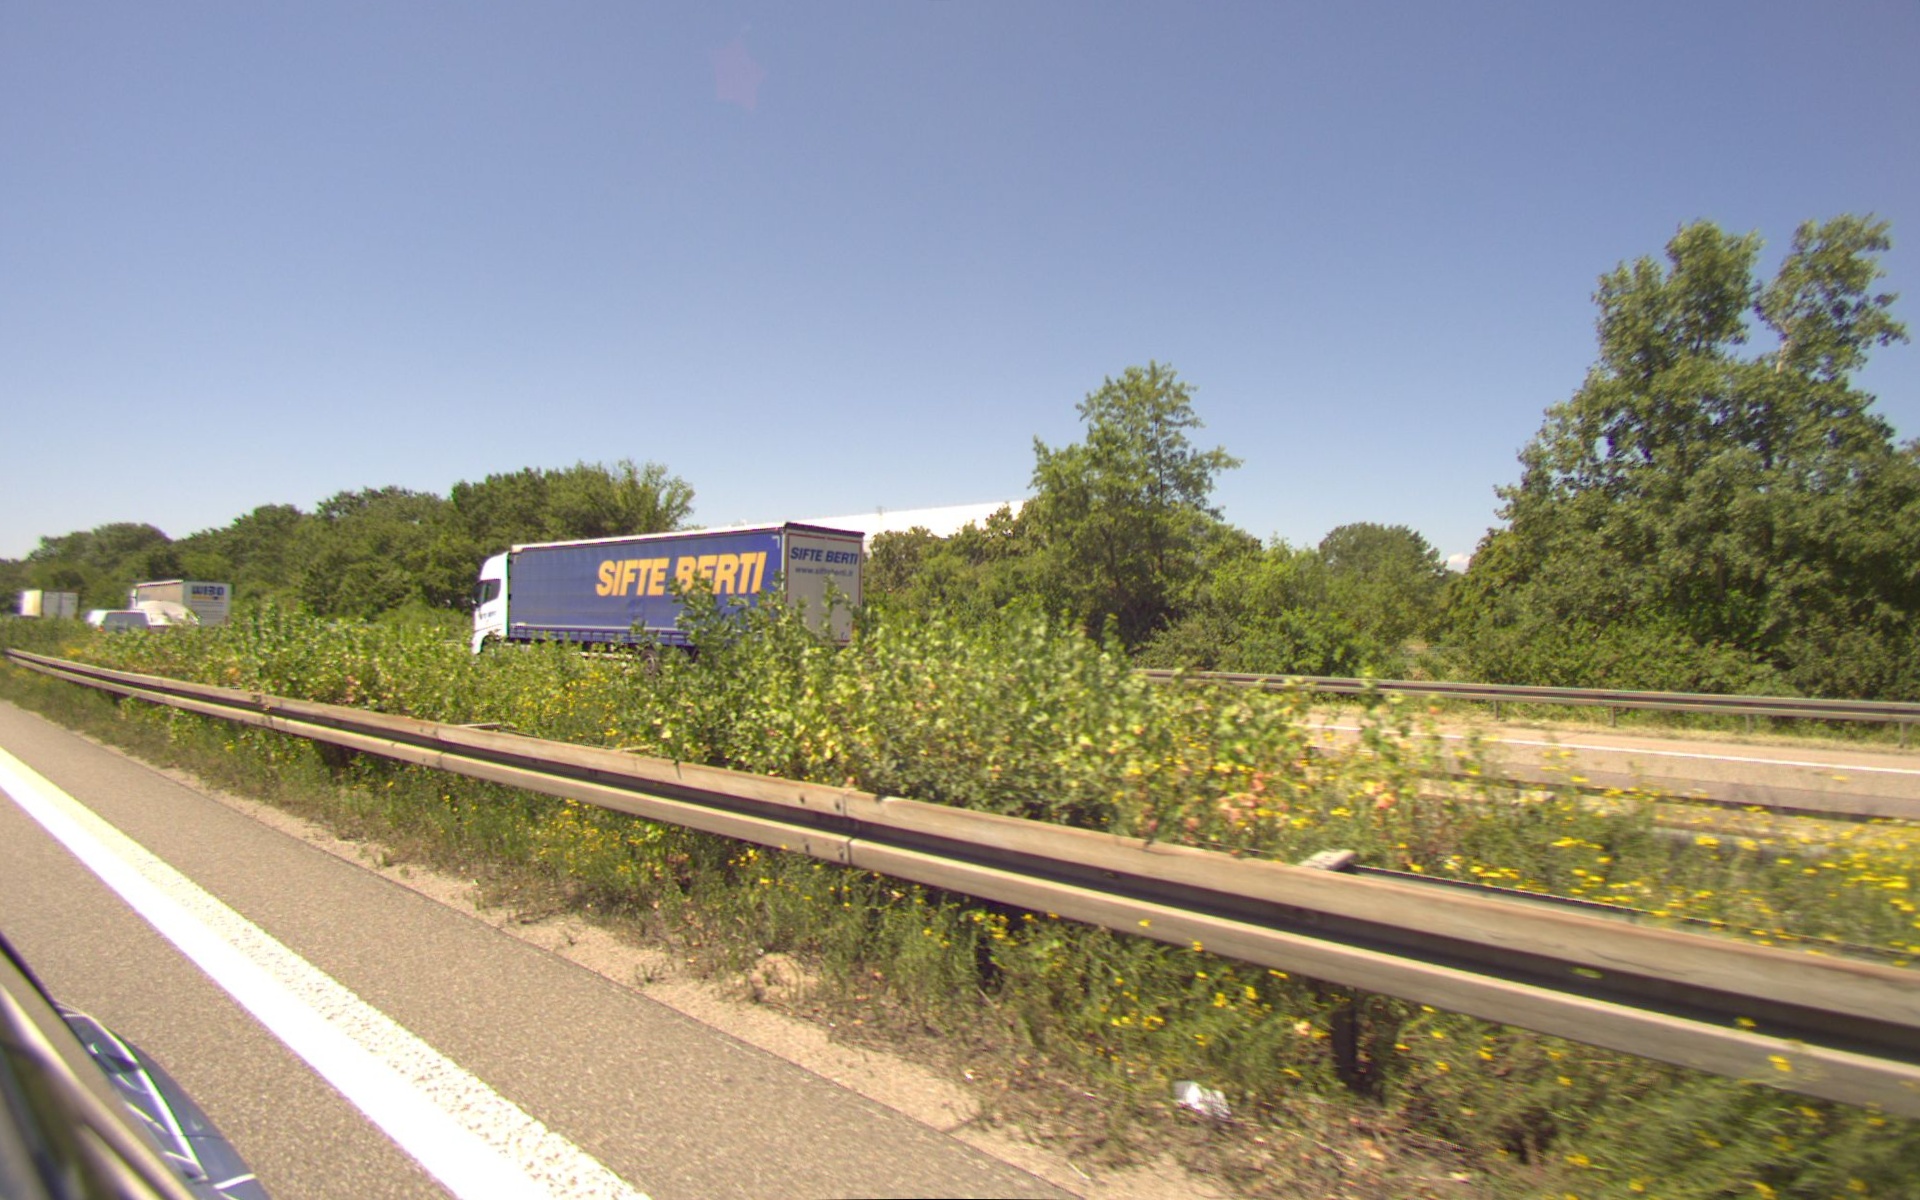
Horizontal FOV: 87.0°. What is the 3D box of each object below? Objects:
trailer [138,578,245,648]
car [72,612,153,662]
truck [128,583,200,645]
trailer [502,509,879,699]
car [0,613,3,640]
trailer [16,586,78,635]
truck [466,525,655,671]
[{"bbox_3d":[-50.411,0.930,66.141,14.048,4.134,2.728,-1,-4,42],"label":"trailer"},{"bbox_3d":[-38.215,1.618,45.594,4.708,2.088,1.974,-1,0,39],"label":"car"},{"bbox_3d":[-55.930,1.021,71.045,6.150,4.134,2.728,-1,-4,42],"label":"truck"},{"bbox_3d":[-8.161,0.023,28.277,13.731,4.243,2.946,1,-1,42],"label":"trailer"},{"bbox_3d":[-74.512,2.045,76.980,5.487,2.046,1.973,-1,0,41],"label":"car"},{"bbox_3d":[-83.146,1.051,92.050,14.345,4.116,2.710,-1,-3,43],"label":"trailer"},{"bbox_3d":[-12.906,-0.061,32.496,6.309,4.243,2.974,1,-1,41],"label":"truck"}]
